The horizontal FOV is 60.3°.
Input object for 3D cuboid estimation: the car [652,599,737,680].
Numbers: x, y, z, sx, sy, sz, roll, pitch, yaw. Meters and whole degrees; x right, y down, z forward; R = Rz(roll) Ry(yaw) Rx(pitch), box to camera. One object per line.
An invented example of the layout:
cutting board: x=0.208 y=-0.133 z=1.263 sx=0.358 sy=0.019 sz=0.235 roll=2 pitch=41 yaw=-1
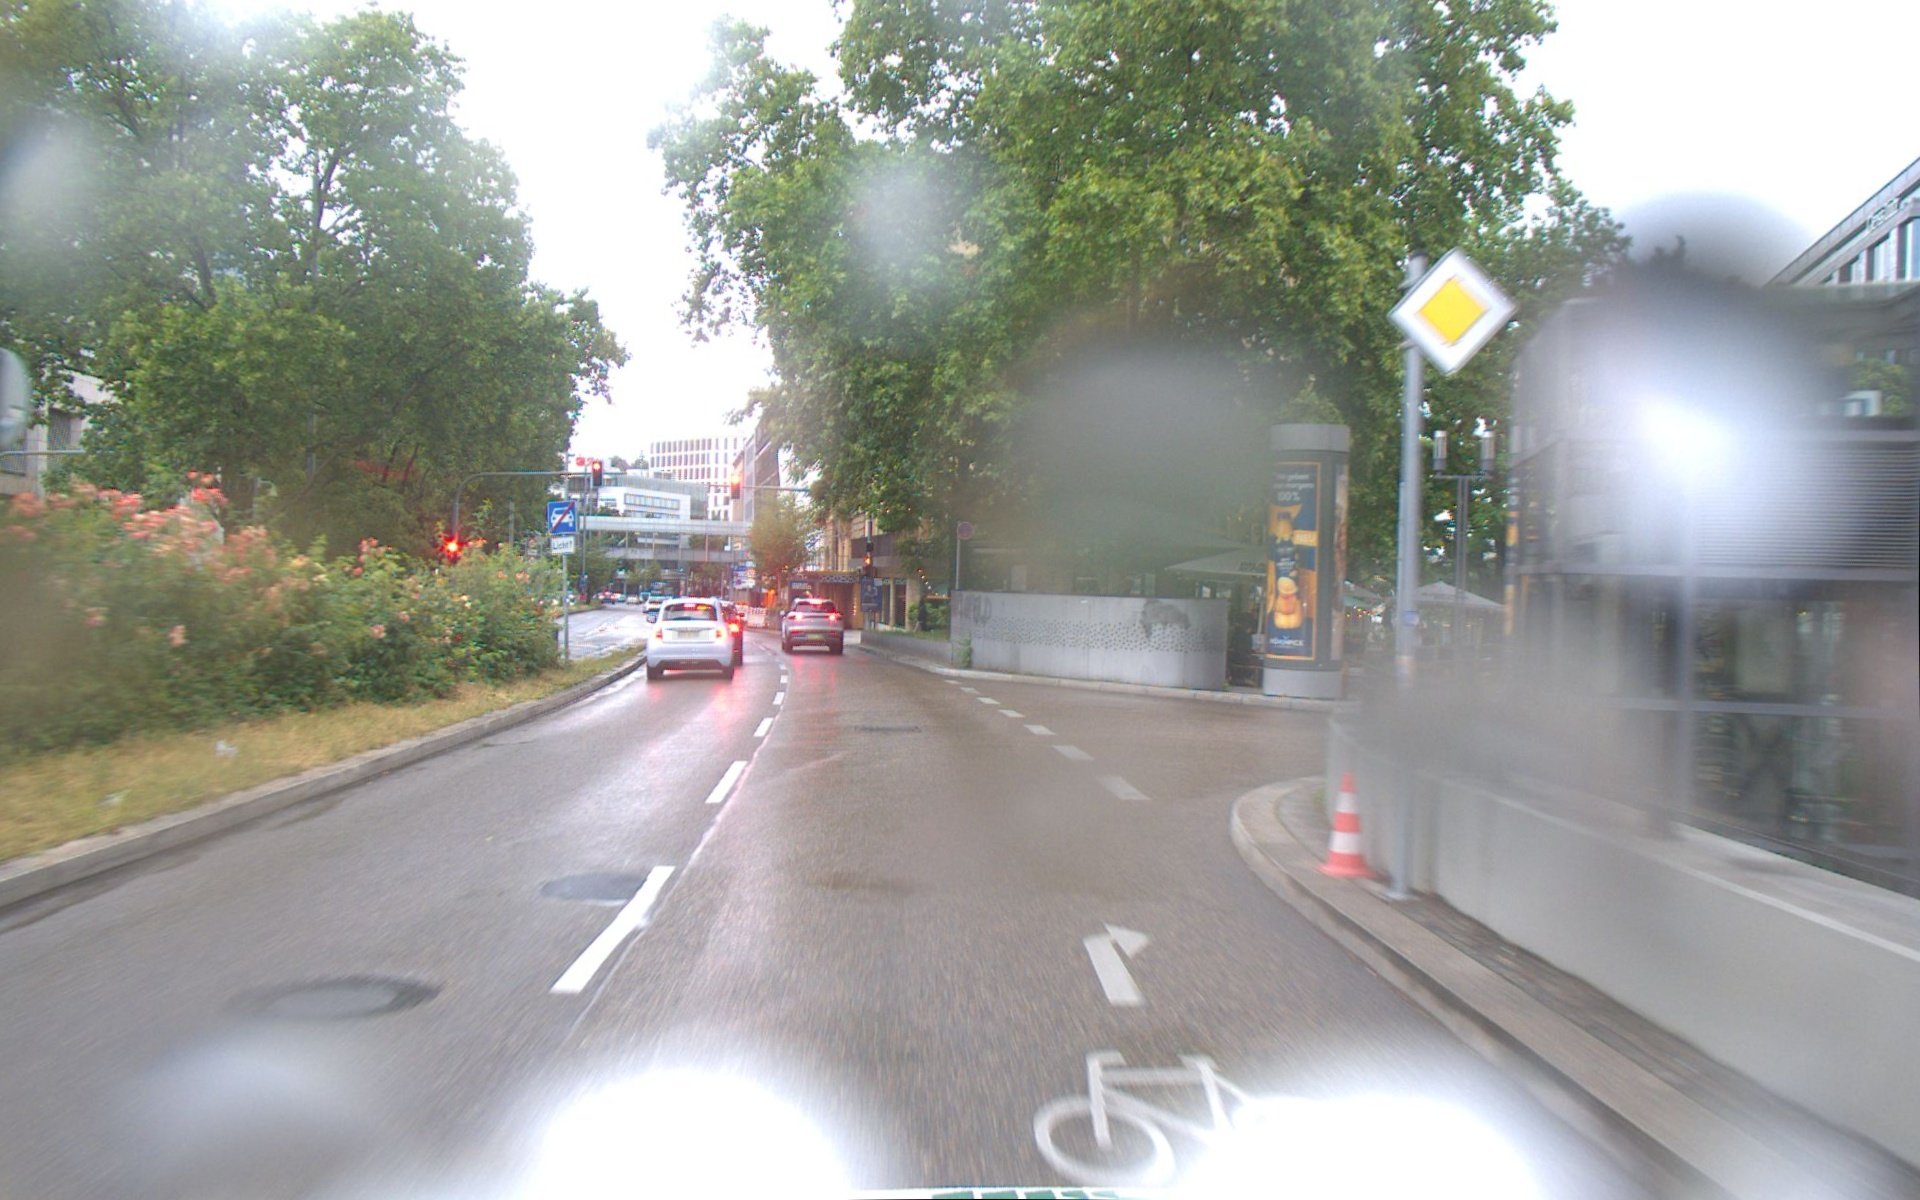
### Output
car: x=-5.234 y=0.744 z=32.920 sx=1.560 sy=1.517 sz=3.499 roll=0 pitch=0 yaw=-7

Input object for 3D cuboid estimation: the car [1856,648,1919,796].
car: x=12.890 y=1.564 z=19.096 sx=4.011 sy=1.649 sz=1.864 roll=5 pitch=-1 yaw=11

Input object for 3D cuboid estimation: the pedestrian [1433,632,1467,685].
pedestrian: x=13.831 y=1.656 z=46.685 sx=0.597 sy=1.436 sz=0.628 roll=4 pitch=-1 yaw=-15

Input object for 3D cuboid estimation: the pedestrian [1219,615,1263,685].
pedestrian: x=5.976 y=1.057 z=35.208 sx=0.671 sy=1.434 sz=0.904 roll=4 pitch=-1 yaw=-3

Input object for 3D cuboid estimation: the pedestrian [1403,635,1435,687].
pedestrian: x=13.166 y=1.739 z=47.458 sx=0.597 sy=1.436 sz=0.628 roll=4 pitch=-1 yaw=-15

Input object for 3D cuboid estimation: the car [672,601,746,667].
car: x=-5.984 y=0.779 z=39.711 sx=1.659 sy=1.489 sz=4.123 roll=0 pitch=0 yaw=-7

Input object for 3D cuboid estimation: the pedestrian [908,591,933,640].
pedestrian: x=-1.475 y=0.590 z=61.883 sx=0.842 sy=1.811 sz=0.717 roll=1 pitch=-1 yaw=-5

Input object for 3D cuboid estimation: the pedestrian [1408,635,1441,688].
pedestrian: x=13.066 y=1.729 z=46.527 sx=0.597 sy=1.436 sz=0.628 roll=4 pitch=-1 yaw=-15

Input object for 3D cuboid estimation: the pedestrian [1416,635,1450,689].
pedestrian: x=13.042 y=1.714 z=45.608 sx=0.597 sy=1.436 sz=0.628 roll=4 pitch=-1 yaw=-15

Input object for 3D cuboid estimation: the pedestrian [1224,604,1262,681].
pedestrian: x=6.457 y=0.963 z=37.691 sx=0.708 sy=1.731 sz=0.618 roll=1 pitch=-1 yaw=23

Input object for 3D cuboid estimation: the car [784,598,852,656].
car: x=-4.519 y=0.832 z=52.070 sx=1.910 sy=1.695 sz=4.338 roll=2 pitch=-1 yaw=-7

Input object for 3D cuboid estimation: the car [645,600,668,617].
car: x=-26.727 y=0.724 z=145.783 sx=1.942 sy=1.489 sz=4.334 roll=0 pitch=0 yaw=-10

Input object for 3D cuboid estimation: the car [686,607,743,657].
car: x=-7.774 y=0.977 z=52.070 sx=1.660 sy=1.489 sz=4.335 roll=0 pitch=0 yaw=-10

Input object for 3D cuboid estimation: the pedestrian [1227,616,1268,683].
pedestrian: x=6.359 y=1.087 z=36.621 sx=0.671 sy=1.434 sz=0.660 roll=4 pitch=-1 yaw=-3

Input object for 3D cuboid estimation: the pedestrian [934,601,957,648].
pedestrian: x=-0.568 y=0.961 z=64.366 sx=0.842 sy=1.811 sz=0.717 roll=1 pitch=-1 yaw=-5
